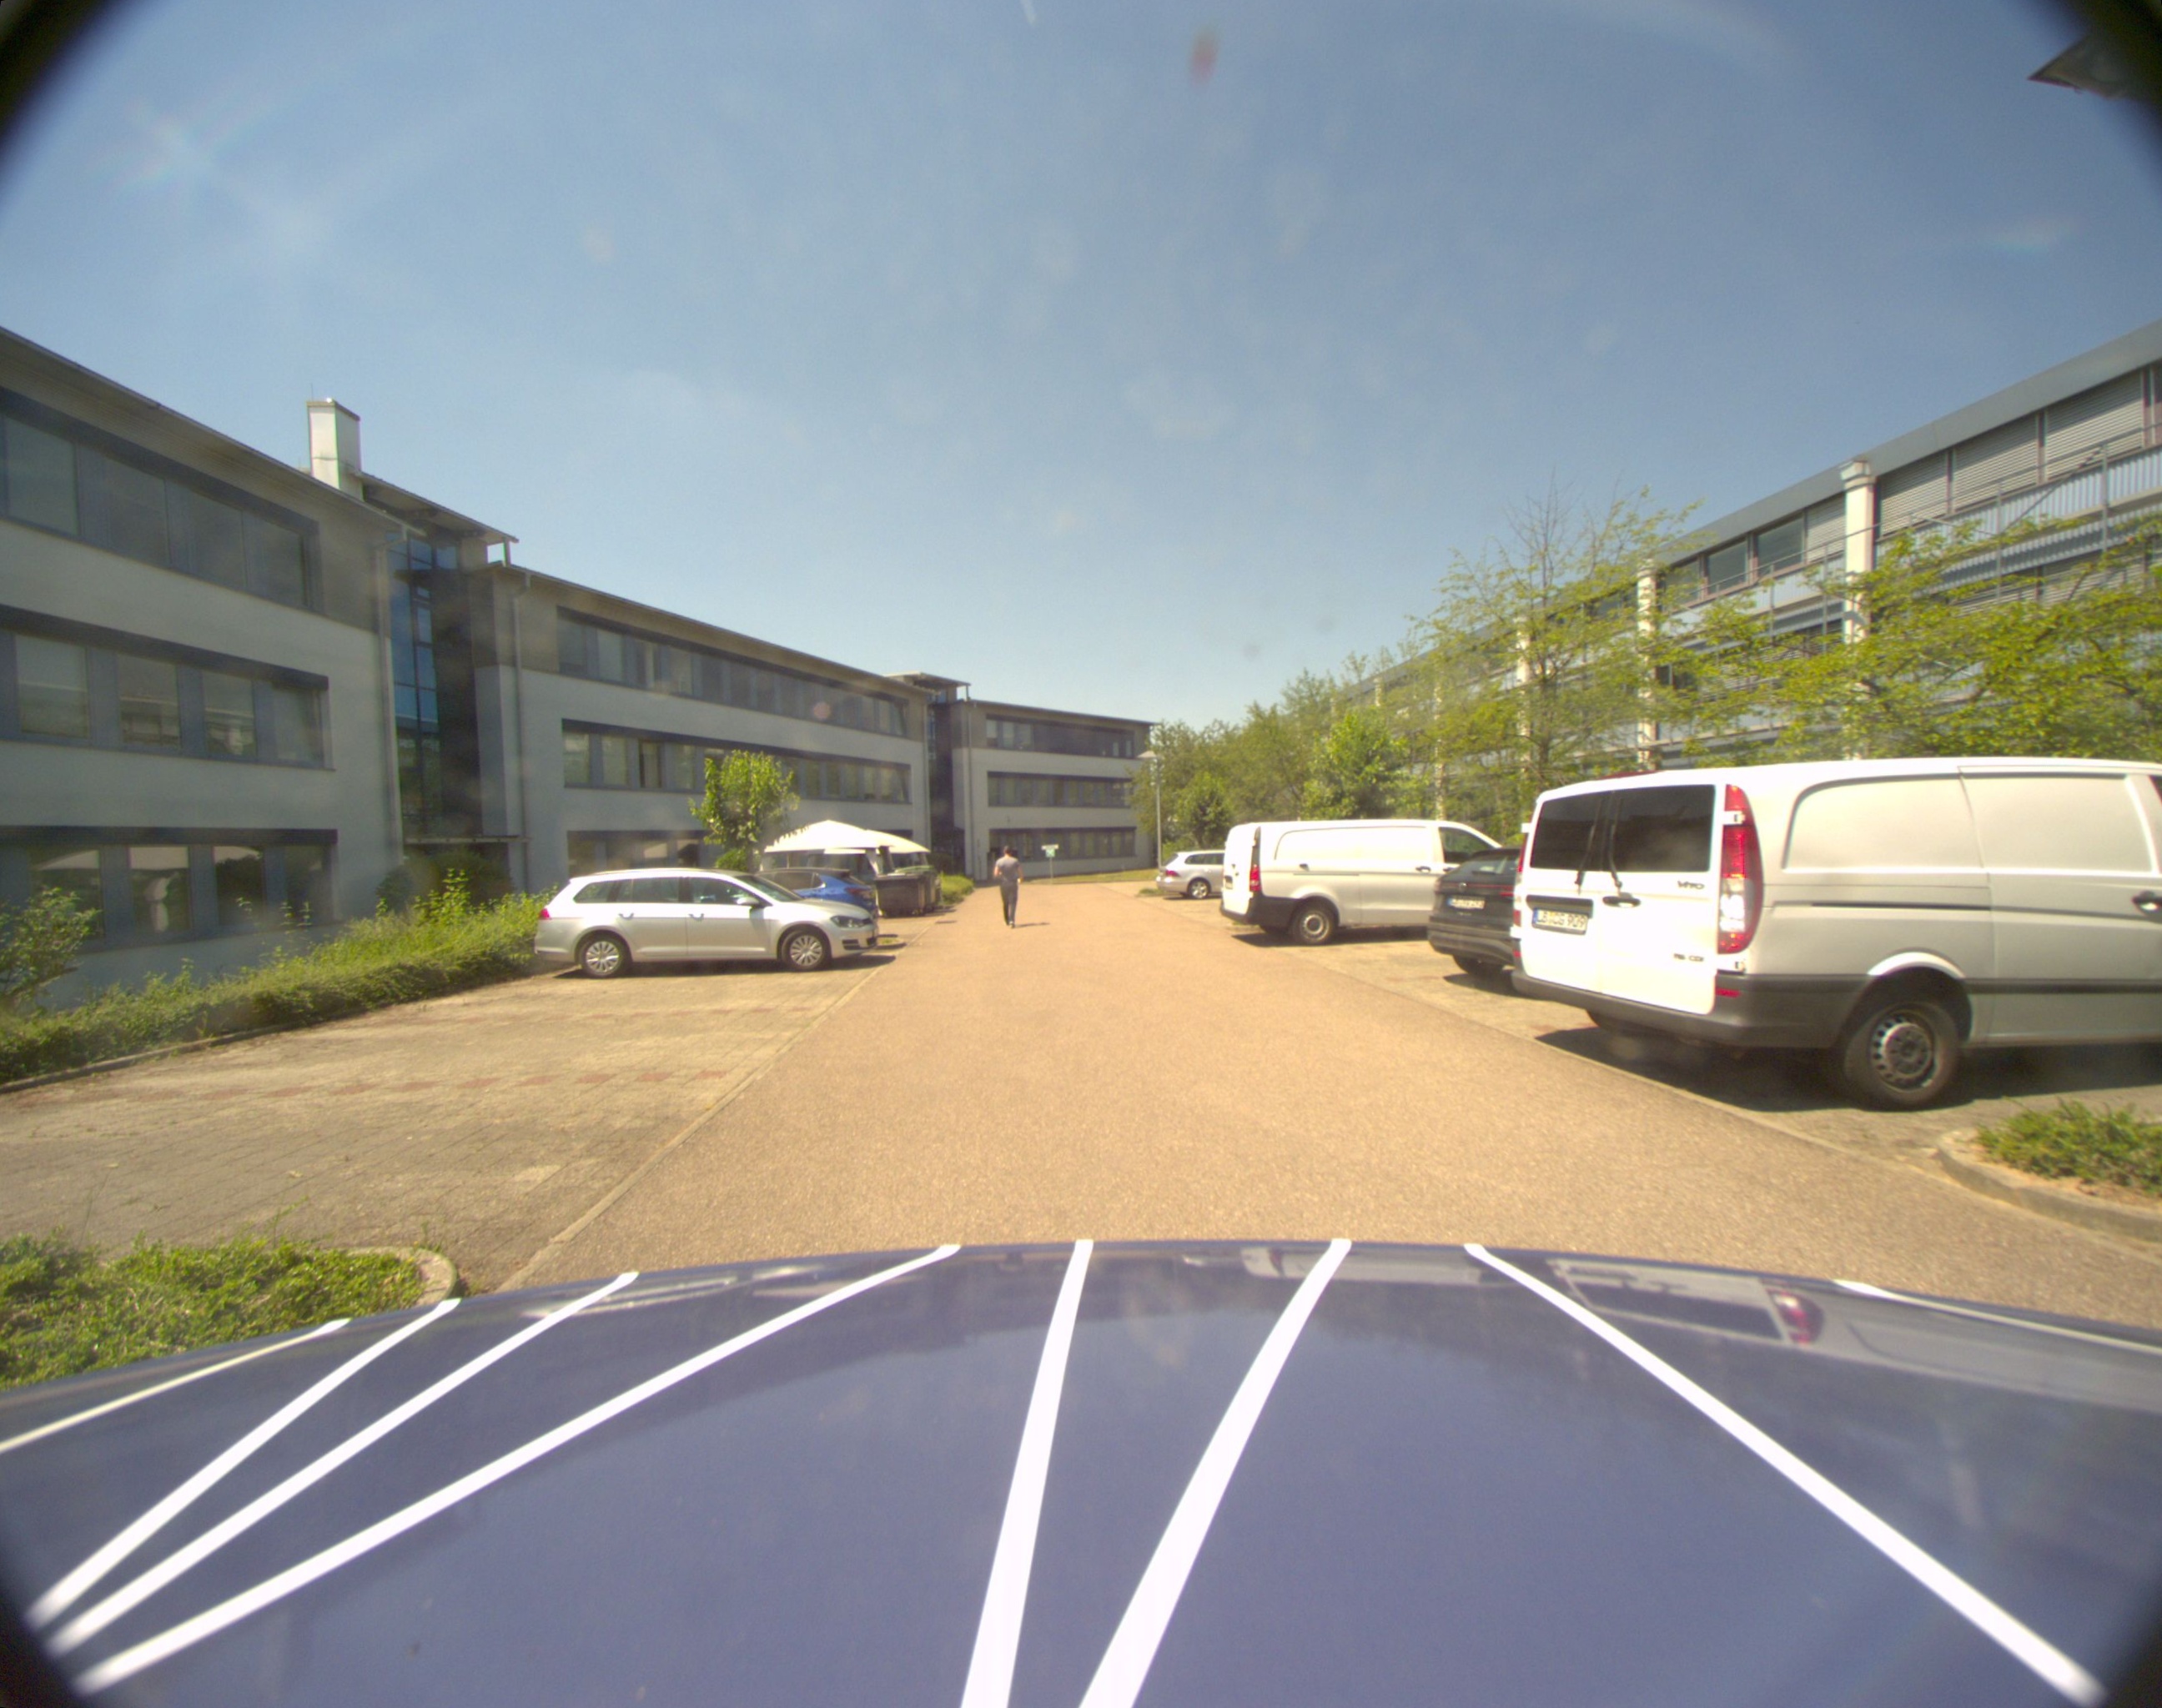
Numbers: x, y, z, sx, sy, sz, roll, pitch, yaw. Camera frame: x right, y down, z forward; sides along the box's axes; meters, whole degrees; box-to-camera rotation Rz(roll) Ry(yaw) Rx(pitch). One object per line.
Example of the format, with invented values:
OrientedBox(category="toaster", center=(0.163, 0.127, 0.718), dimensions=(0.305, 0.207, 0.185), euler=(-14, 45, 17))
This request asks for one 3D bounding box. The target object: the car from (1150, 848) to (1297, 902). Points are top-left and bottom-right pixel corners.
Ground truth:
OrientedBox(category="car", center=(4.284, 0.617, 23.188), dimensions=(4.083, 1.475, 1.739), euler=(-1, 0, -3))

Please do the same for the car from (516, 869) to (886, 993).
OrientedBox(category="car", center=(-5.267, 1.028, 11.088), dimensions=(4.426, 1.511, 1.856), euler=(-1, 0, -6))

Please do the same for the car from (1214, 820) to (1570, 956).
OrientedBox(category="car", center=(4.796, 0.490, 12.163), dimensions=(4.933, 1.845, 1.856), euler=(-2, 0, -4))

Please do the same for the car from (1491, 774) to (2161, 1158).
OrientedBox(category="car", center=(5.451, 0.511, 4.898), dimensions=(4.676, 1.849, 1.867), euler=(-2, 0, -6))

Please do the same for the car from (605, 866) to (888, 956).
OrientedBox(category="car", center=(-6.231, 1.026, 14.634), dimensions=(4.611, 1.485, 1.856), euler=(-1, 0, -6))

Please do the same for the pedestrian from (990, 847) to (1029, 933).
OrientedBox(category="pedestrian", center=(-1.509, 0.744, 16.084), dimensions=(0.698, 1.747, 0.776), euler=(-3, 1, -2))

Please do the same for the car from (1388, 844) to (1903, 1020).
OrientedBox(category="car", center=(5.626, 0.693, 7.864), dimensions=(4.197, 1.475, 1.739), euler=(-2, 0, -6))
